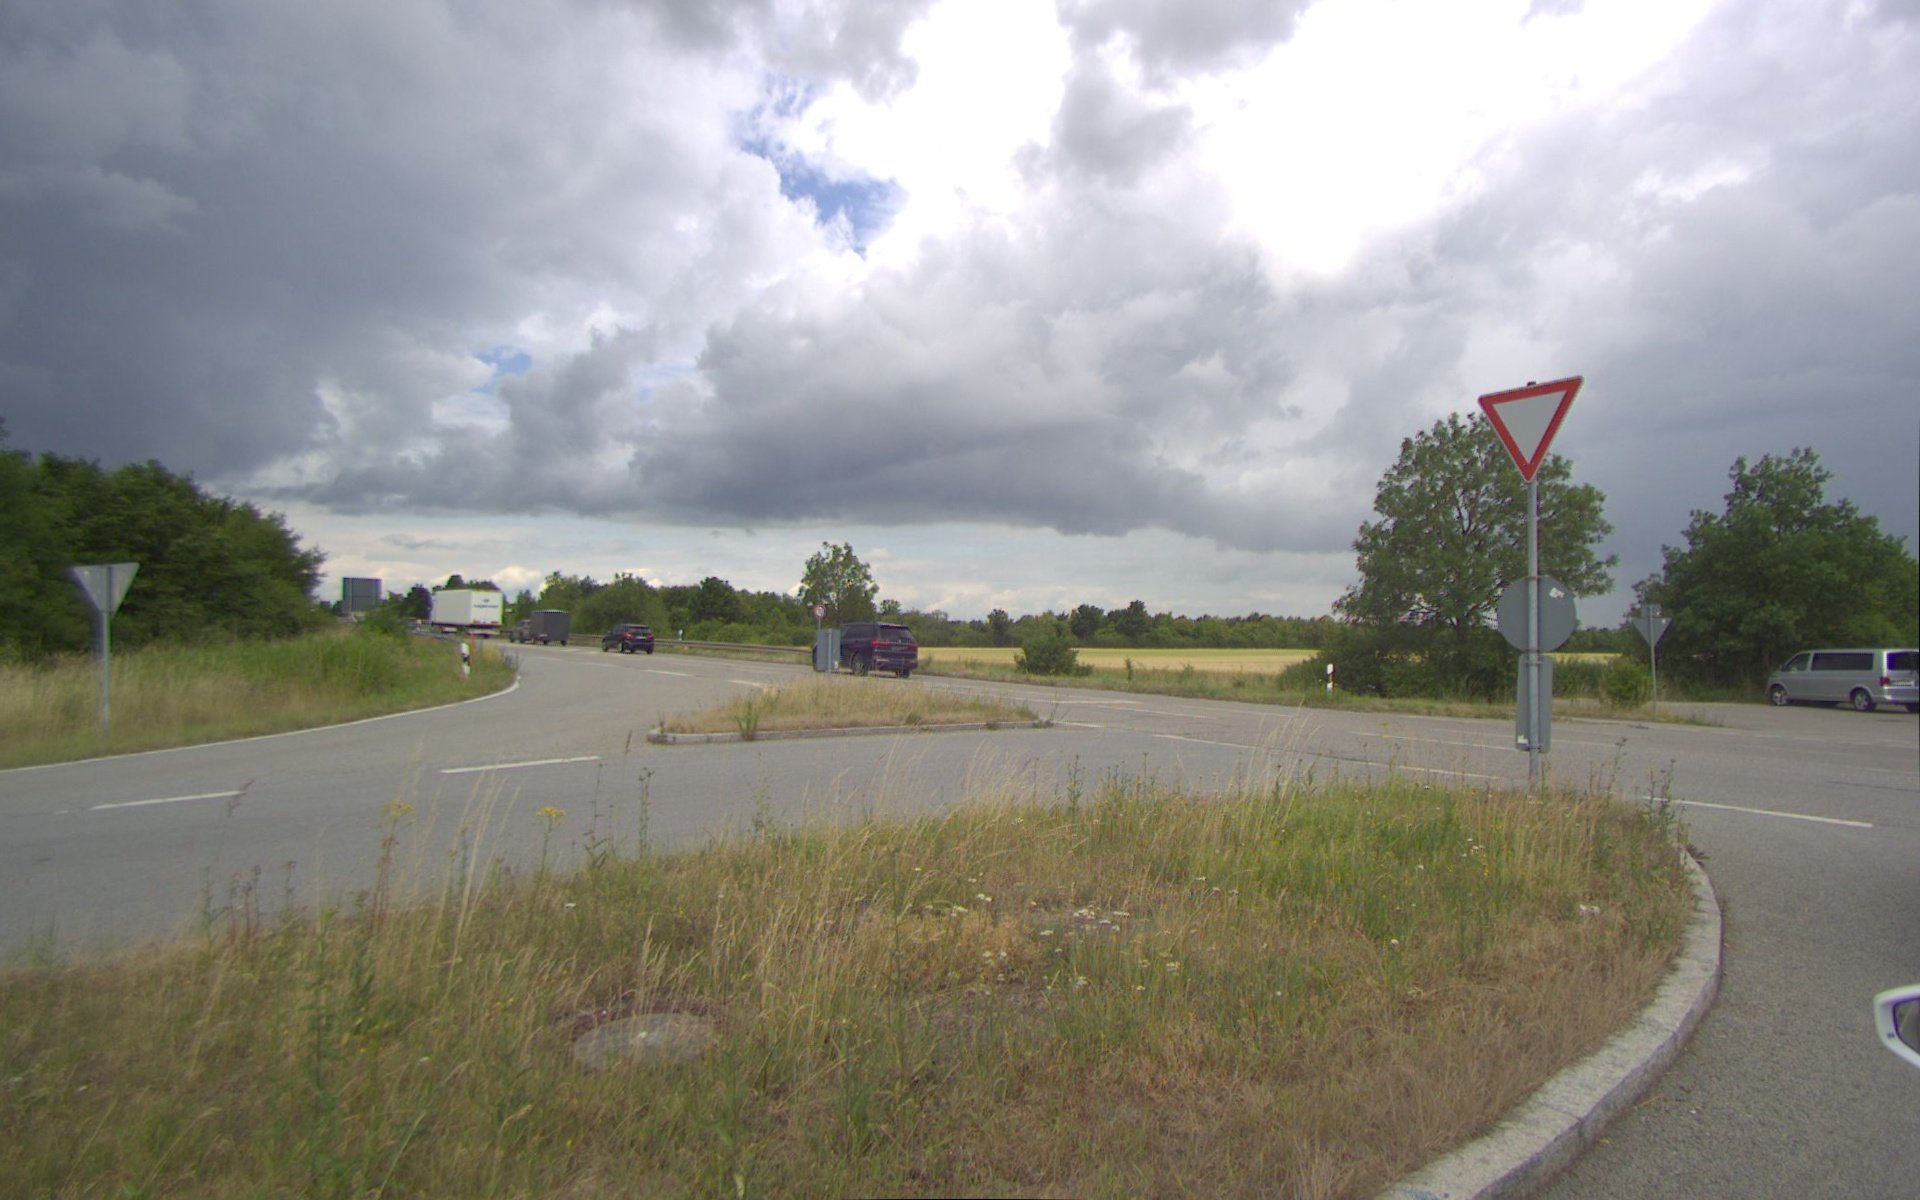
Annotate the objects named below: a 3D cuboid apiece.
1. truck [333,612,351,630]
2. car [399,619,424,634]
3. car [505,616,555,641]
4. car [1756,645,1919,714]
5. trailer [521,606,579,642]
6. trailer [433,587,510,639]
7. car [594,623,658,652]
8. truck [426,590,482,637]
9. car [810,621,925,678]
[{"bbox_3d":[-98.049,3.325,159.306,2.046,2.738,5.984,2,-2,-35],"label":"truck"},{"bbox_3d":[-62.259,2.981,113.902,1.981,1.622,4.182,1,-3,-36],"label":"car"},{"bbox_3d":[-30.669,2.040,71.576,1.984,1.704,4.426,4,-4,-40],"label":"car"},{"bbox_3d":[29.322,2.524,33.125,2.295,2.040,4.916,0,-2,1],"label":"car"},{"bbox_3d":[-27.876,1.656,68.171,2.398,2.322,4.346,4,-4,-39],"label":"trailer"},{"bbox_3d":[-42.885,1.194,87.903,3.102,4.066,13.736,4,-3,-38],"label":"trailer"},{"bbox_3d":[-18.298,2.049,54.972,1.983,1.506,4.254,3,-3,-38],"label":"car"},{"bbox_3d":[-46.893,1.304,93.023,3.102,4.066,7.228,4,-3,-38],"label":"truck"},{"bbox_3d":[-3.276,1.665,34.715,1.980,1.798,4.600,3,-2,-34],"label":"car"}]
